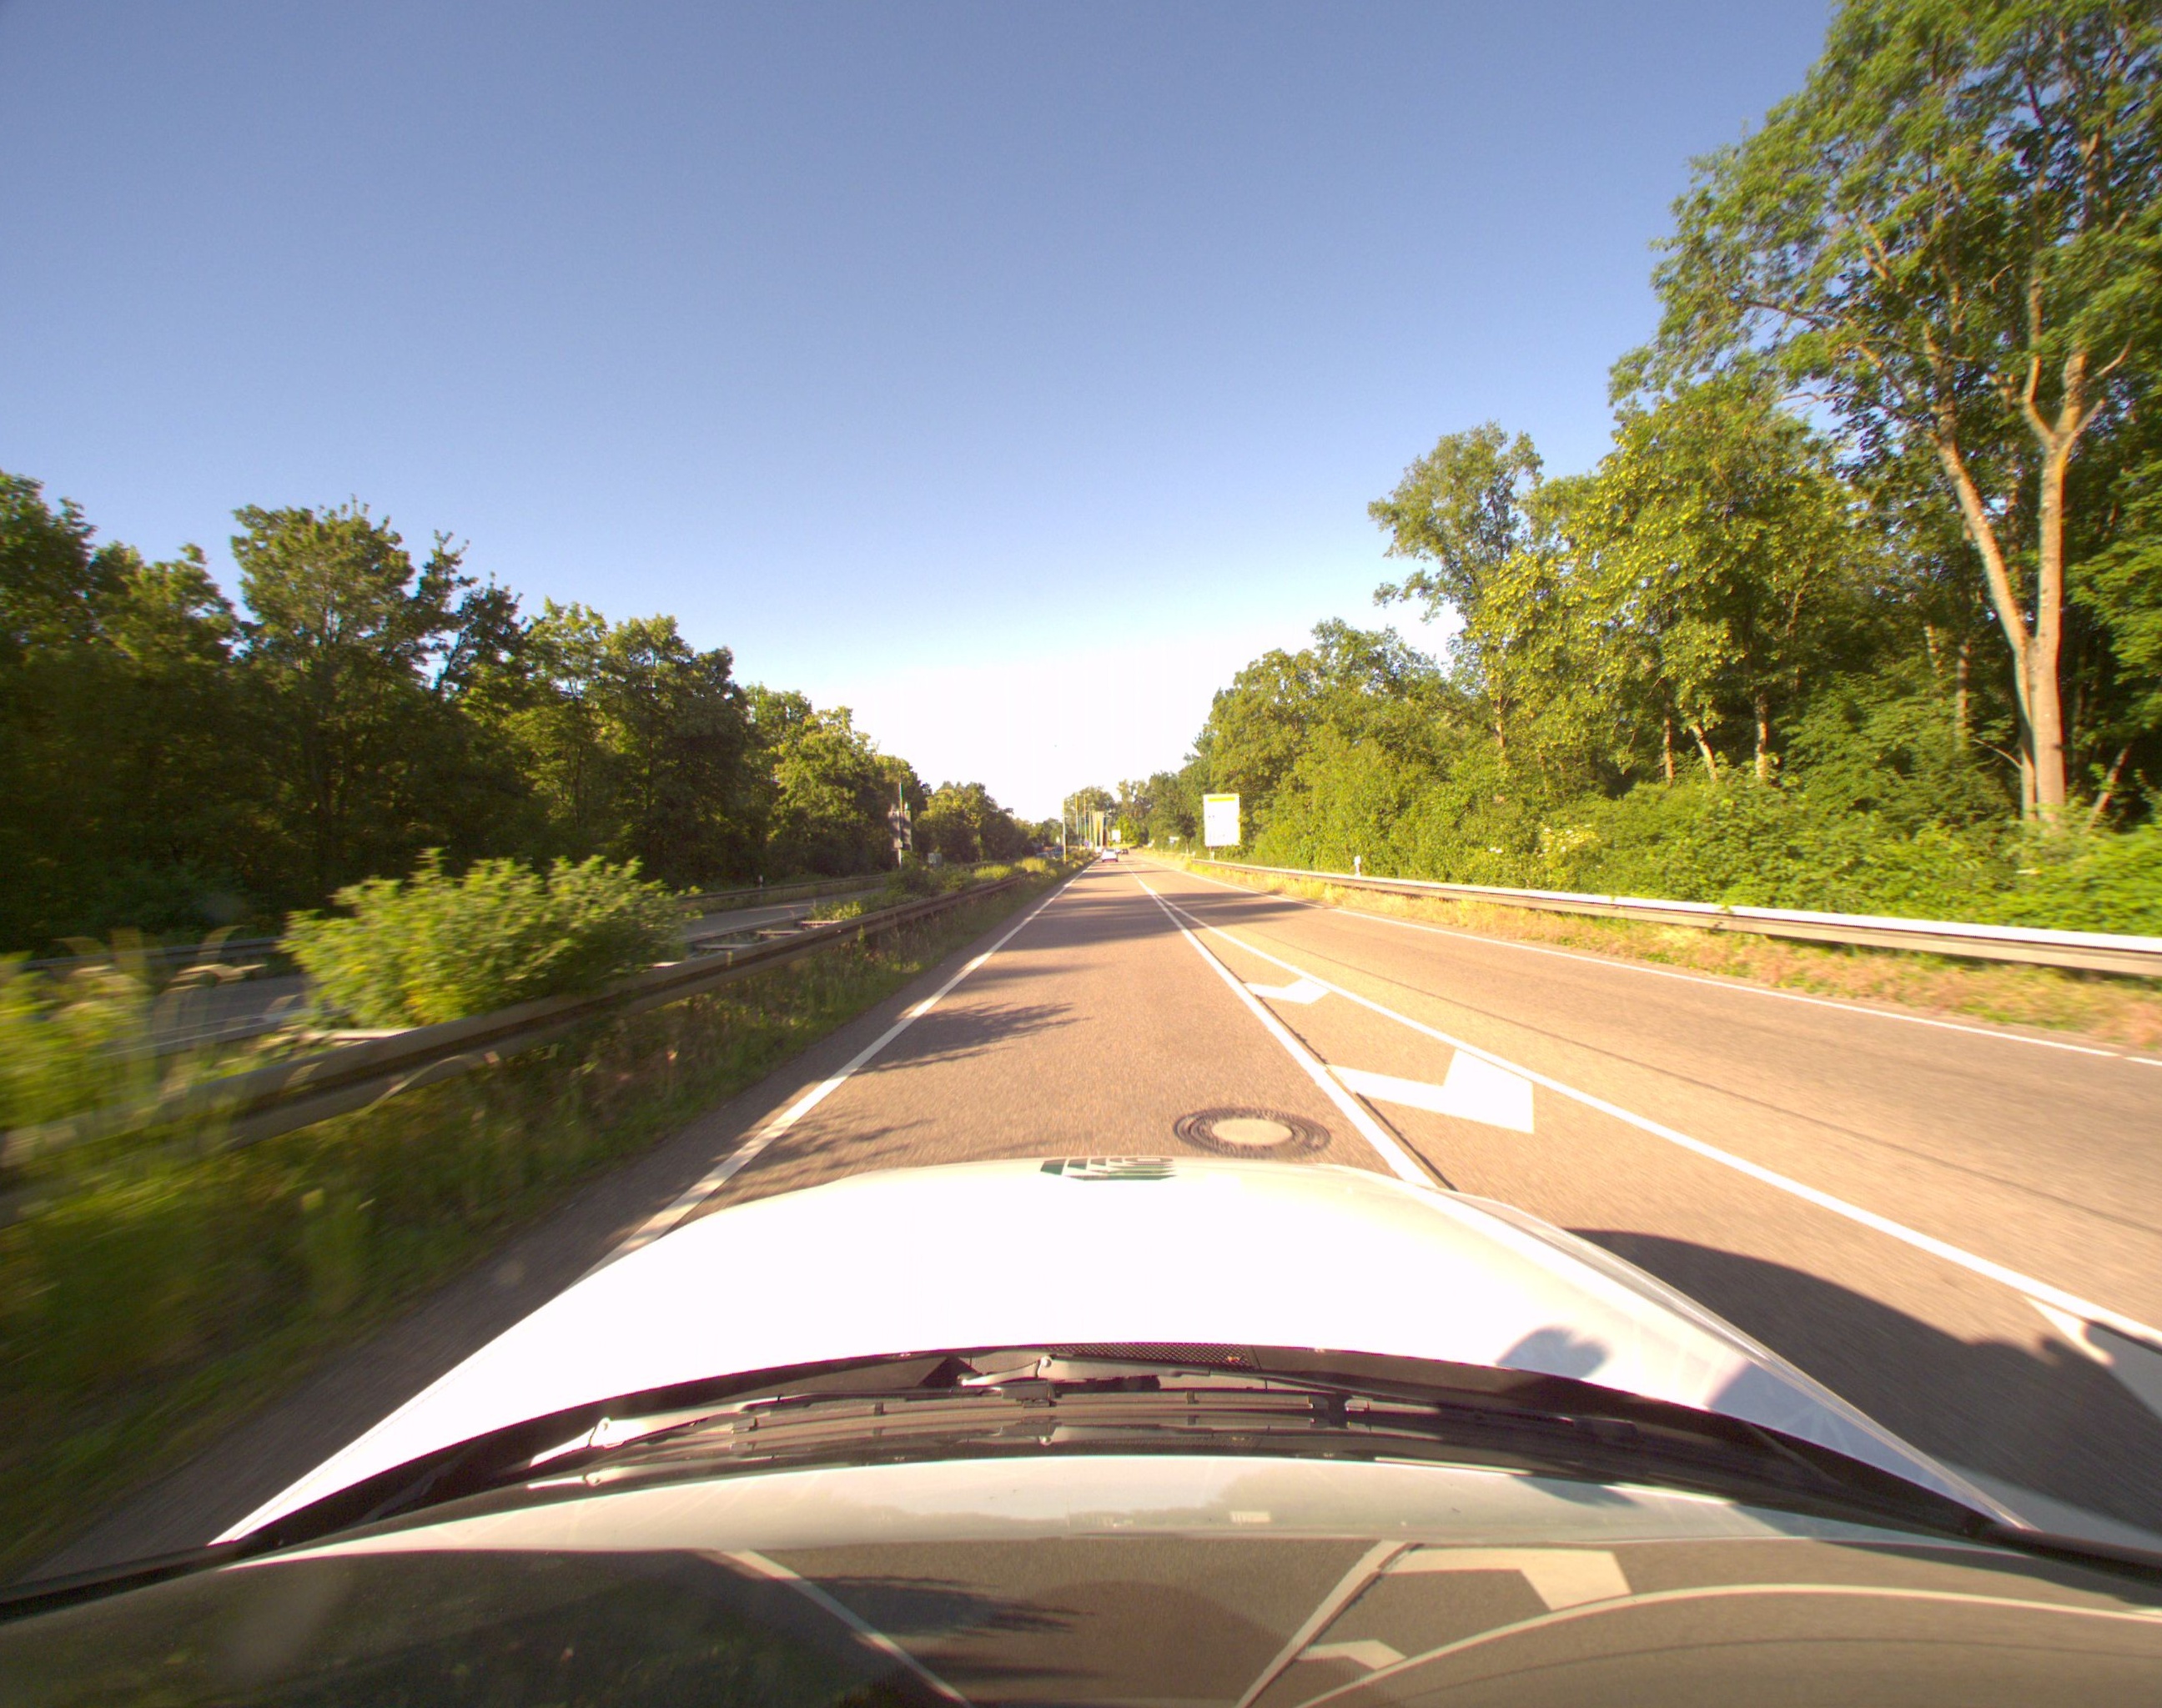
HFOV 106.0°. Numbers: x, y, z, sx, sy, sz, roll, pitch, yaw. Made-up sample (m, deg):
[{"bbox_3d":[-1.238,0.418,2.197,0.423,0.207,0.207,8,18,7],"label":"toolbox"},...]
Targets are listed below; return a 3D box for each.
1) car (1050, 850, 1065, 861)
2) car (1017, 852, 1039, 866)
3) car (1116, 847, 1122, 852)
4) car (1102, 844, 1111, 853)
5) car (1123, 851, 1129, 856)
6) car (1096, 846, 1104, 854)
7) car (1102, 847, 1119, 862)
[{"bbox_3d":[-3.322,0.217,117.051,1.611,1.530,4.613,-3,0,4],"label":"car"},{"bbox_3d":[-5.799,0.524,89.884,1.773,1.403,4.557,-3,0,4],"label":"car"},{"bbox_3d":[9.629,-1.159,206.918,1.618,1.280,2.988,0,-1,2],"label":"car"},{"bbox_3d":[6.166,-1.300,196.402,1.987,1.879,4.250,-3,1,1],"label":"car"},{"bbox_3d":[10.369,-0.127,187.819,1.382,1.280,2.988,0,-1,2],"label":"car"},{"bbox_3d":[5.015,-1.054,215.264,1.989,2.014,3.994,0,-1,-4],"label":"car"},{"bbox_3d":[3.521,0.070,98.123,1.986,1.639,4.130,-3,1,2],"label":"car"}]
